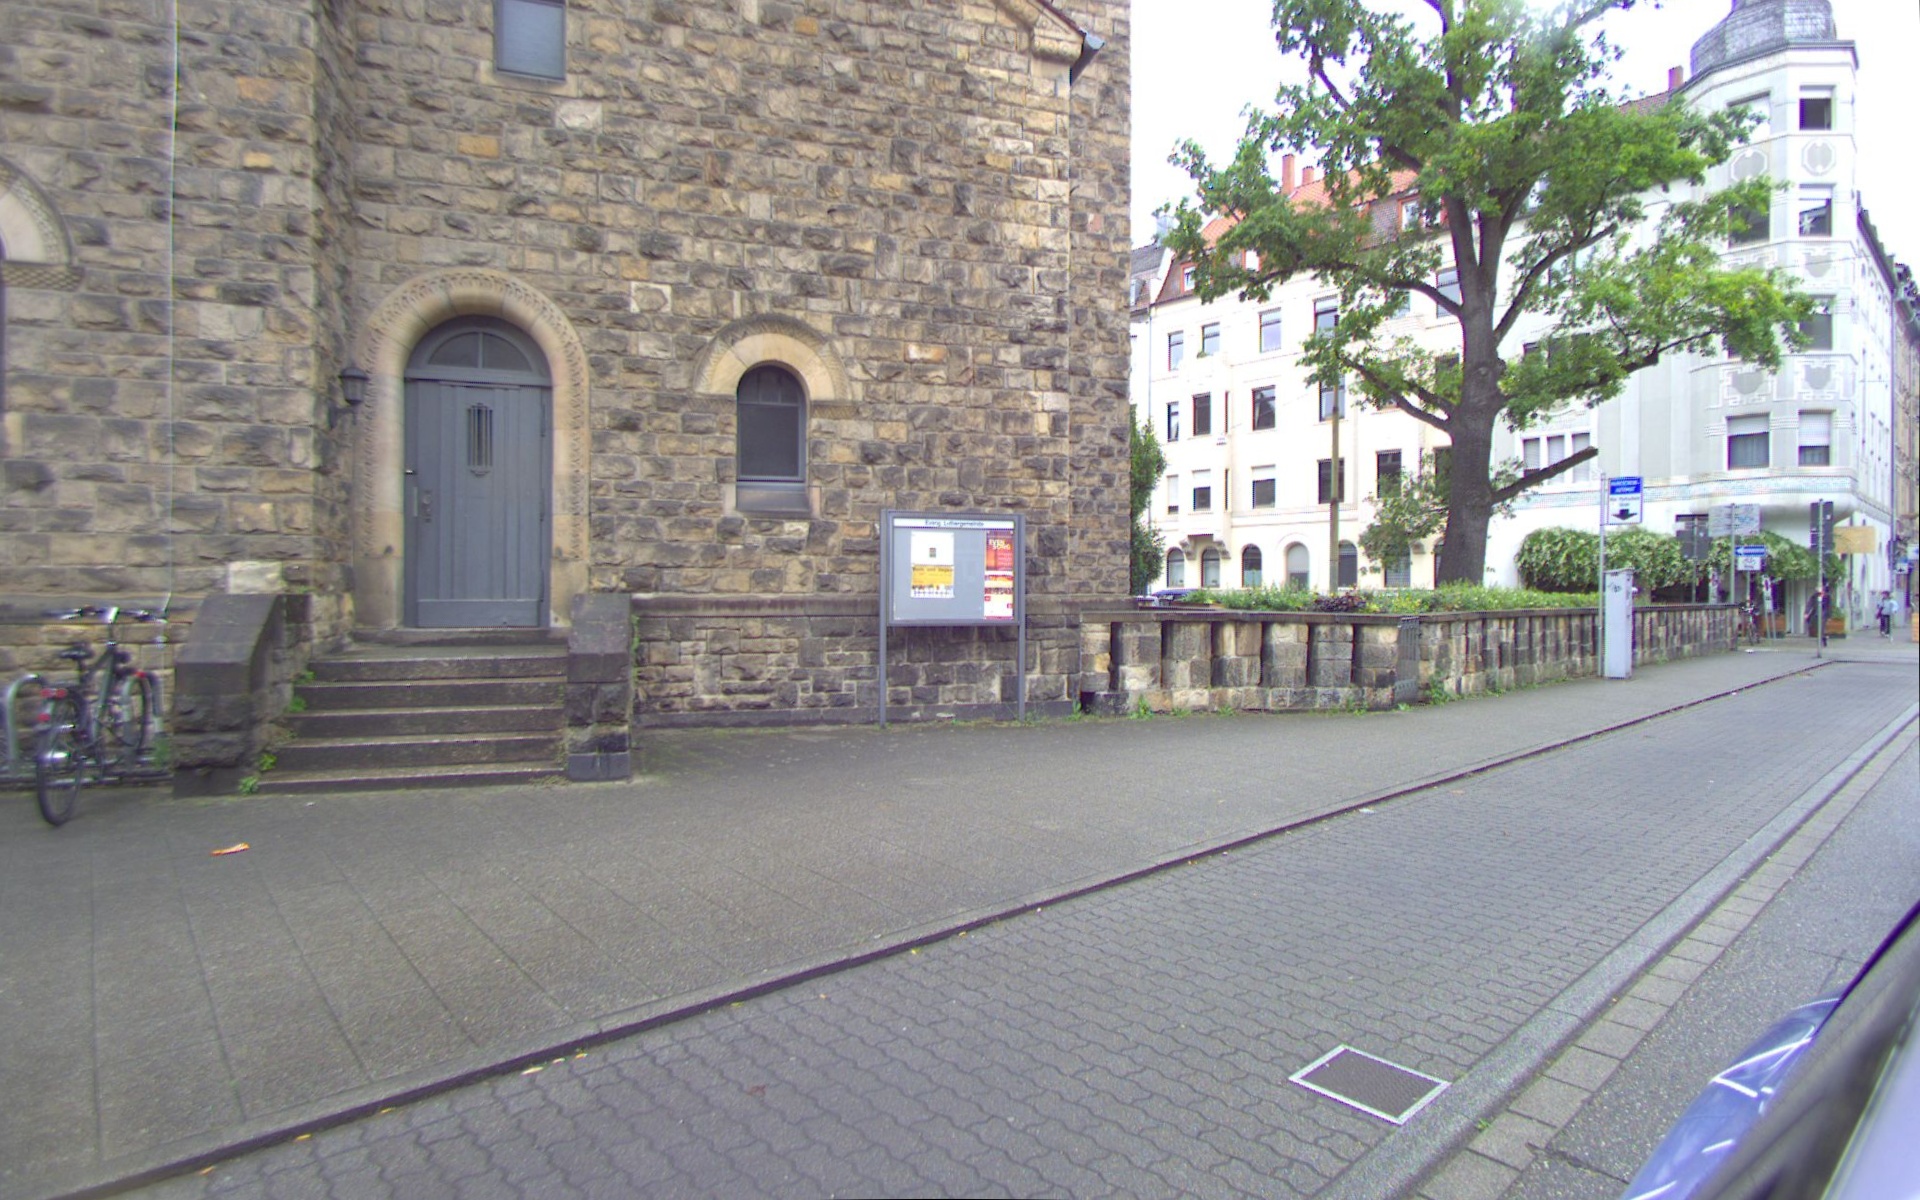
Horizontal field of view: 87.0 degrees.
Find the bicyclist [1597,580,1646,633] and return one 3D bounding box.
[{"bbox_3d":[19.966,0.187,30.558,0.527,1.549,1.134,0,0,-38],"label":"bicyclist"}]

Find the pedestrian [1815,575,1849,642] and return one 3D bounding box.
[{"bbox_3d":[25.379,0.241,29.447,0.681,1.896,0.645,0,1,-42],"label":"pedestrian"}]

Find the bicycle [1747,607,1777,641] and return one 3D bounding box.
[{"bbox_3d":[24.500,0.731,30.892,1.990,0.904,0.390,-3,3,-42],"label":"bicycle"}]

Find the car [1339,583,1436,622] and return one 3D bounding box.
[{"bbox_3d":[16.874,0.088,40.054,1.421,1.427,3.271,0,1,-38],"label":"car"}]

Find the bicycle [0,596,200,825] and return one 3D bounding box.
[{"bbox_3d":[-5.101,0.554,6.076,0.502,1.067,1.994,0,3,-27],"label":"bicycle"}]

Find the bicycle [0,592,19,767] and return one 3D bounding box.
[{"bbox_3d":[-6.260,0.554,5.976,0.550,1.125,1.717,0,3,-27],"label":"bicycle"}]

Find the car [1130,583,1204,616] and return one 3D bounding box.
[{"bbox_3d":[9.683,-0.042,47.579,1.421,1.427,3.271,0,1,-38],"label":"car"}]

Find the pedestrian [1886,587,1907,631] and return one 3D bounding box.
[{"bbox_3d":[32.274,0.296,34.880,0.385,1.479,0.481,0,1,-42],"label":"pedestrian"}]
